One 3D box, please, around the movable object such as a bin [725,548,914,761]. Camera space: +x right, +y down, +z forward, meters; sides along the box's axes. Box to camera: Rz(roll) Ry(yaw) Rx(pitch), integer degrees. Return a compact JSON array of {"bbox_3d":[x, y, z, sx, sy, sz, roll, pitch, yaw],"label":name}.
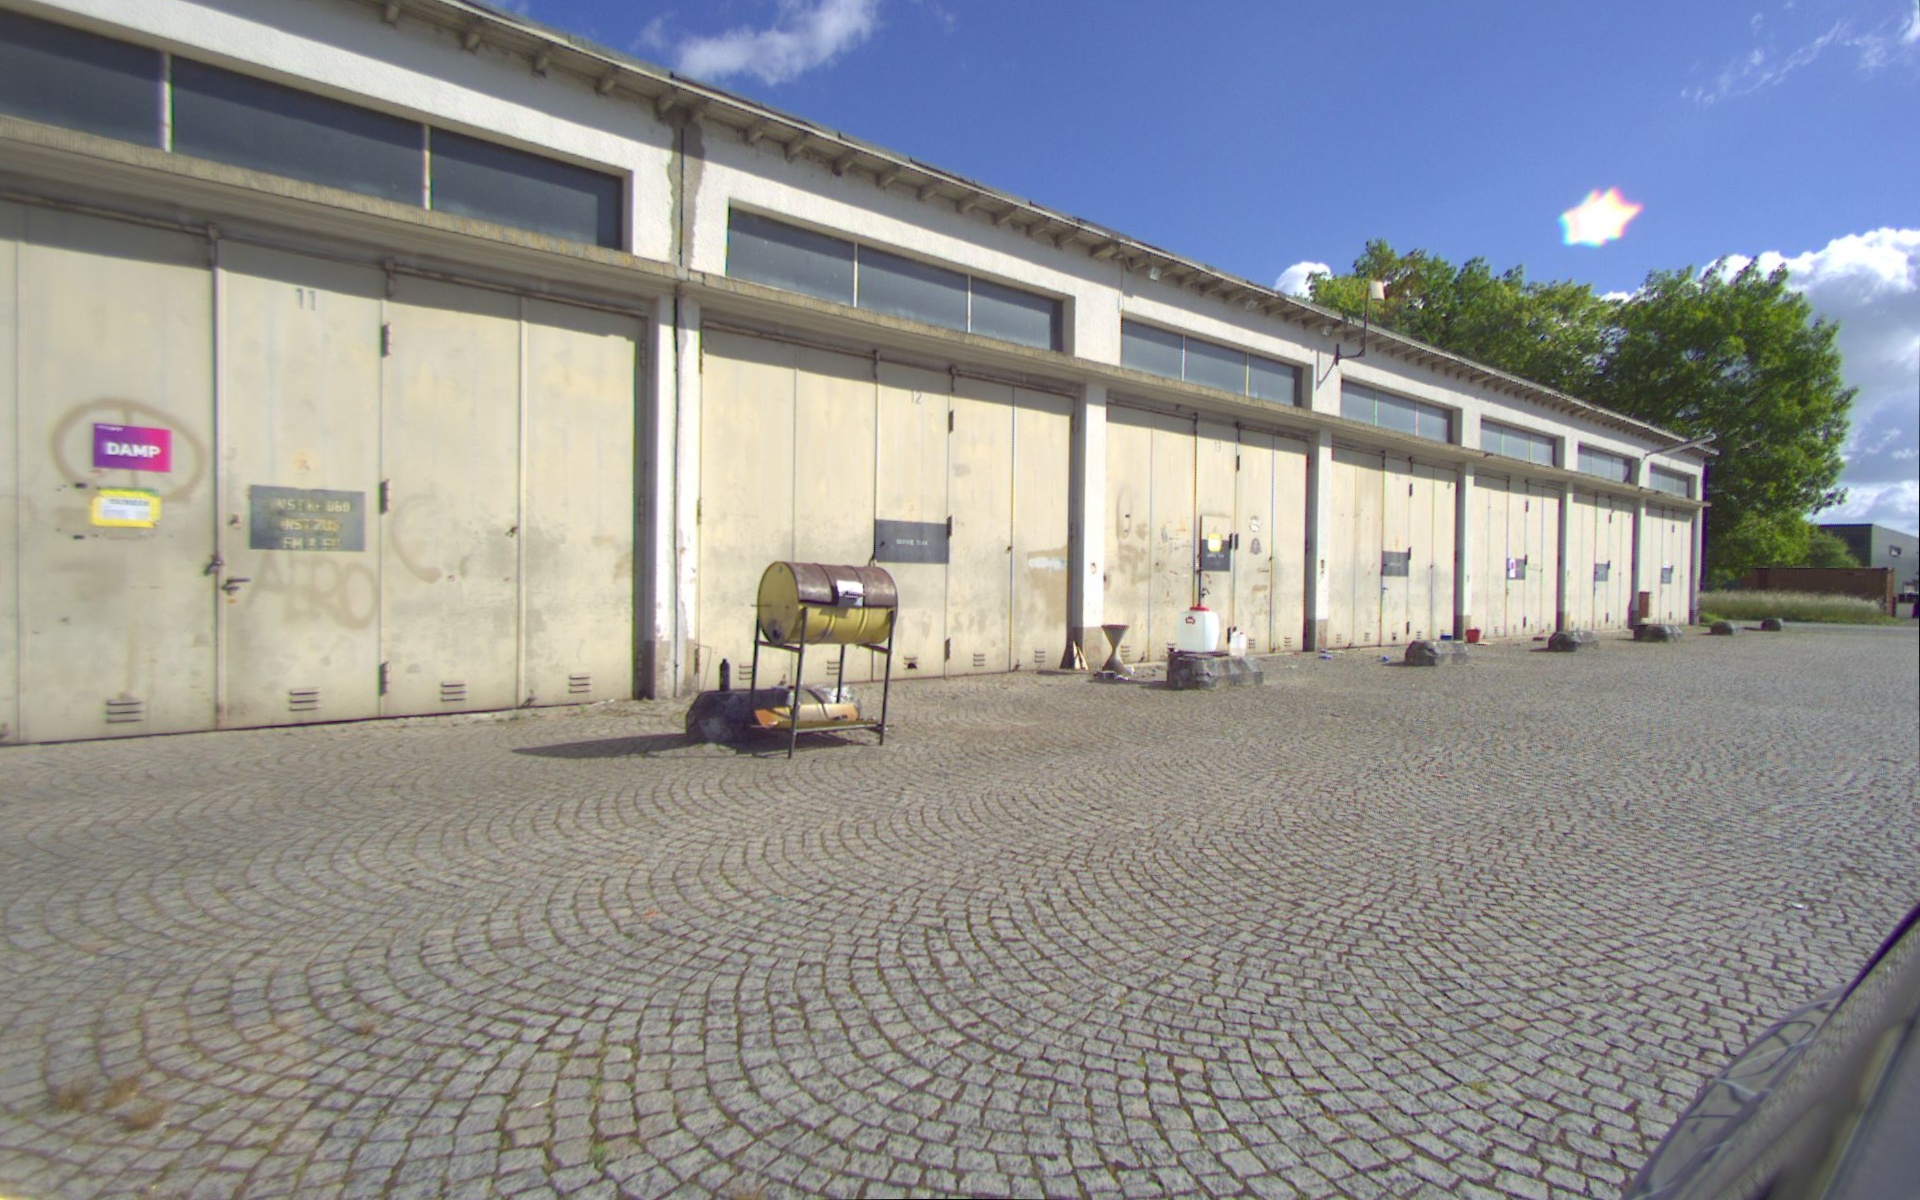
[{"bbox_3d":[-1.030,0.349,7.450,1.082,1.419,0.876,0,1,-41],"label":"movable object such as a bin"}]
